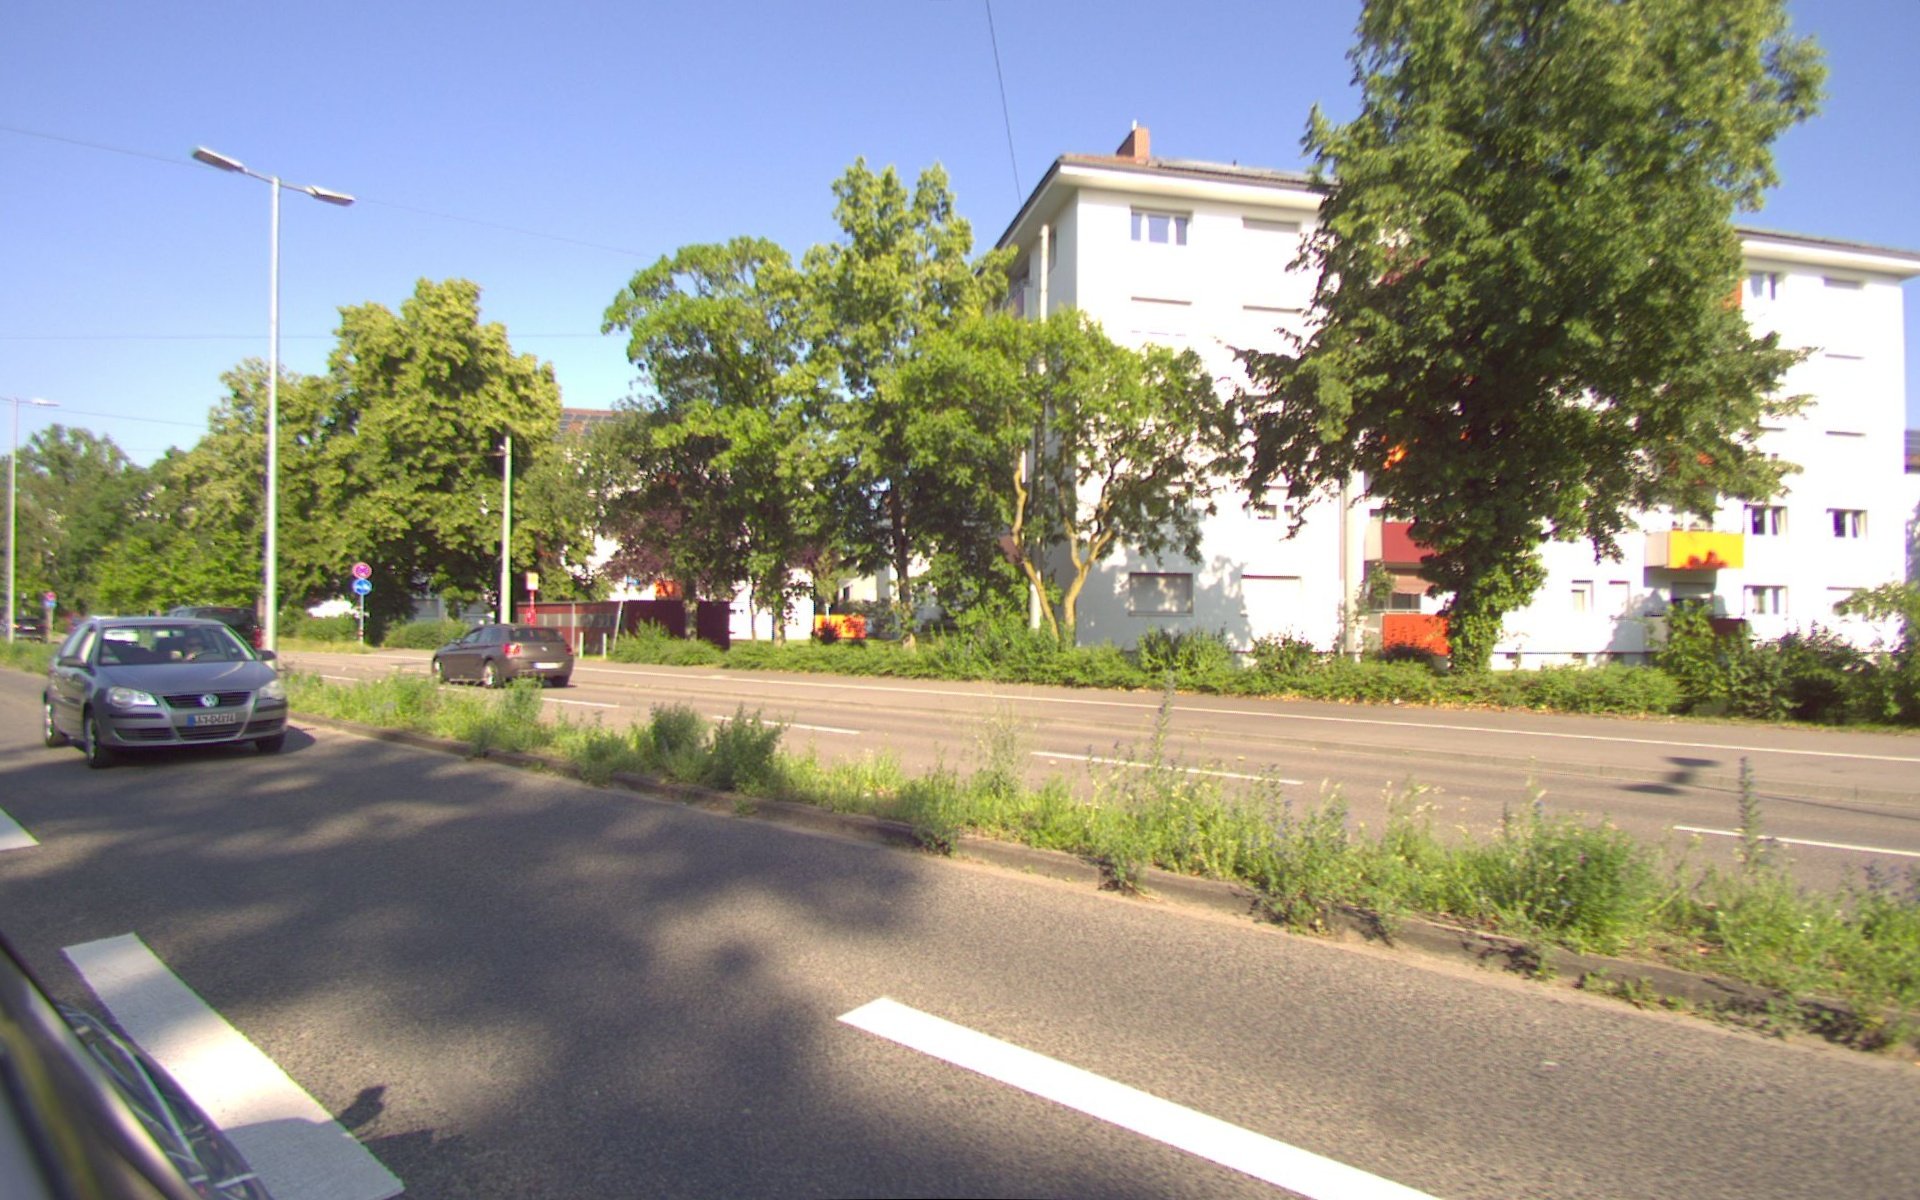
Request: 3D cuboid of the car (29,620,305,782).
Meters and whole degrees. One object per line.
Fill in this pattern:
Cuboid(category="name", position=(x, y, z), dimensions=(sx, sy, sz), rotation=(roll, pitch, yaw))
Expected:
Cuboid(category="car", position=(-8.749, 0.963, 11.061), dimensions=(3.831, 1.439, 1.671), rotation=(-1, -1, 41))

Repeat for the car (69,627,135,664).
Cuboid(category="car", position=(-41.093, 2.155, 48.439), dimensions=(4.512, 1.692, 1.642), rotation=(-1, -3, 41))

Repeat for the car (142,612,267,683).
Cuboid(category="car", position=(-20.872, 1.272, 27.885), dimensions=(4.477, 1.798, 1.772), rotation=(-1, -3, 40))

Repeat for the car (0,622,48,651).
Cuboid(category="car", position=(-57.273, 2.212, 61.782), dimensions=(4.044, 1.692, 1.752), rotation=(-1, -3, 39))

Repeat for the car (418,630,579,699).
Cuboid(category="car", position=(-10.631, 1.413, 23.201), dimensions=(4.323, 1.430, 1.706), rotation=(-1, -3, 41))
